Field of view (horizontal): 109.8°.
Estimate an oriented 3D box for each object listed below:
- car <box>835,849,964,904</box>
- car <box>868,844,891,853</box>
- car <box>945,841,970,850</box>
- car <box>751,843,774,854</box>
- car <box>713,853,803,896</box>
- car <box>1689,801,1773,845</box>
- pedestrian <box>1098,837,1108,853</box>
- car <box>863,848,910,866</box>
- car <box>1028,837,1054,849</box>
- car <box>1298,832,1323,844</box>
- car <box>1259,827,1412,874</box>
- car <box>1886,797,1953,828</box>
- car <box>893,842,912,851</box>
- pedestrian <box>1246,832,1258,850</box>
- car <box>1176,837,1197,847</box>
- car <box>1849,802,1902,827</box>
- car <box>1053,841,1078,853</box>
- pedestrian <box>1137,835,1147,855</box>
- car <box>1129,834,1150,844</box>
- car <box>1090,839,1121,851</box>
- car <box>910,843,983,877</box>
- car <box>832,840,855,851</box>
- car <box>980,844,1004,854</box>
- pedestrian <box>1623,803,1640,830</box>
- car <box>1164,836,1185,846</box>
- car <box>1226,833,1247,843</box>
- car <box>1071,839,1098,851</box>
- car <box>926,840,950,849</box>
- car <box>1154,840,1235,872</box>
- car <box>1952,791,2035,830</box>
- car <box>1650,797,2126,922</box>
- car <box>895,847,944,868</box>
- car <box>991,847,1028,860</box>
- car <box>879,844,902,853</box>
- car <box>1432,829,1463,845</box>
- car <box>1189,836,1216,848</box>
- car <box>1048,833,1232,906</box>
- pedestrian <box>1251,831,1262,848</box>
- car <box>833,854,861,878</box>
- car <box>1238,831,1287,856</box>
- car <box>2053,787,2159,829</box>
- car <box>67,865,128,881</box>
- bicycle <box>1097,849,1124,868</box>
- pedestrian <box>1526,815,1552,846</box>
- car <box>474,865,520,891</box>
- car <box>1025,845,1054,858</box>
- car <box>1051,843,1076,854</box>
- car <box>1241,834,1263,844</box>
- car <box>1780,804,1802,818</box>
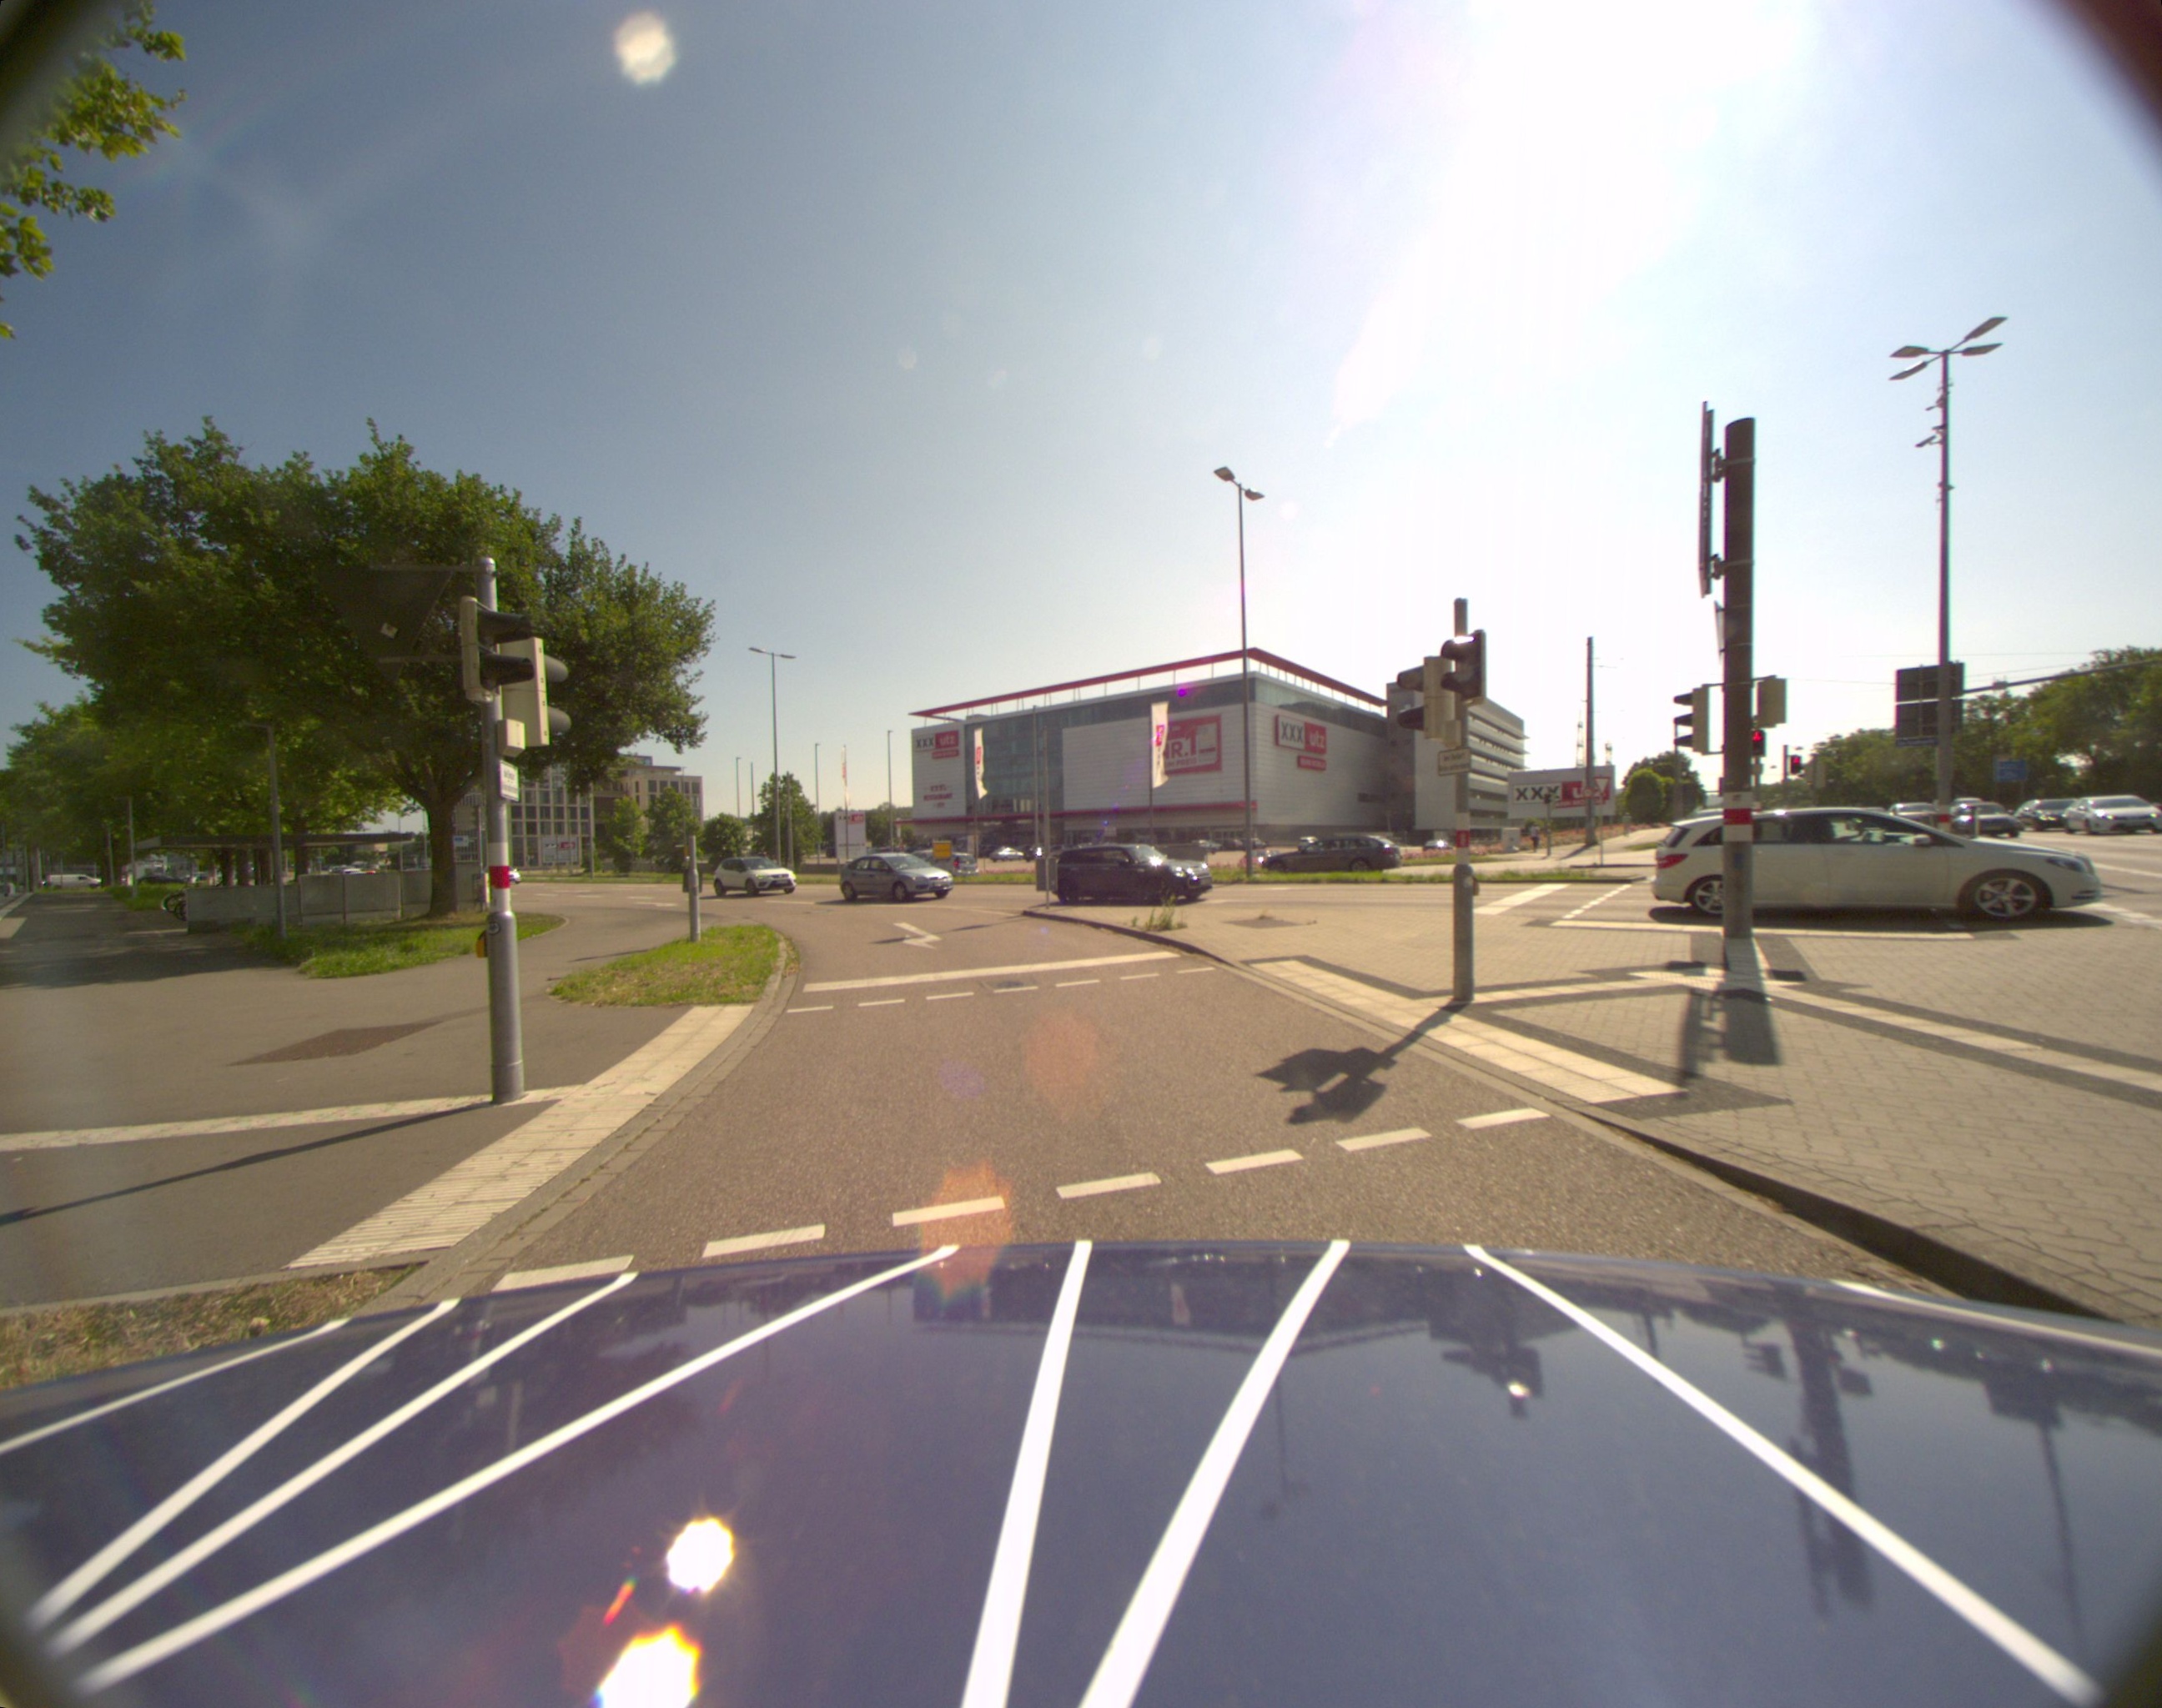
[{"bbox_3d":[-5.833,0.680,24.233,4.162,1.564,1.715,-1,2,38],"label":"car"},{"bbox_3d":[-32.199,-0.929,121.262,1.511,1.322,3.230,1,3,38],"label":"car"},{"bbox_3d":[-17.689,-1.215,108.914,1.476,1.192,3.517,1,3,38],"label":"car"},{"bbox_3d":[-51.121,-0.870,121.931,1.769,1.547,2.781,-1,1,38],"label":"car"},{"bbox_3d":[-12.890,0.835,30.274,3.859,1.489,1.639,-3,1,40],"label":"car"},{"bbox_3d":[32.134,-1.528,37.544,4.005,1.914,1.812,-4,2,-29],"label":"car"},{"bbox_3d":[2.590,-1.030,90.173,0.749,1.847,0.858,0,1,39],"label":"pedestrian"},{"bbox_3d":[-20.097,0.270,78.680,1.866,1.618,4.435,1,3,37],"label":"car"},{"bbox_3d":[-5.653,-1.554,107.577,1.658,1.621,3.579,-1,2,35],"label":"car"},{"bbox_3d":[27.806,-1.945,91.939,1.746,1.322,3.681,1,3,38],"label":"car"},{"bbox_3d":[9.076,-0.115,27.246,4.801,1.494,2.069,-2,1,35],"label":"car"},{"bbox_3d":[45.448,-2.229,41.267,1.757,1.512,4.008,-1,1,38],"label":"car"},{"bbox_3d":[-29.427,-1.214,125.150,1.292,1.322,2.828,1,3,38],"label":"car"},{"bbox_3d":[20.230,-1.549,89.901,0.973,2.002,0.951,-1,2,40],"label":"pedestrian"},{"bbox_3d":[14.265,-1.628,102.514,1.362,1.260,3.103,1,3,38],"label":"car"},{"bbox_3d":[53.199,-2.653,50.928,1.902,1.563,3.844,1,3,39],"label":"car"},{"bbox_3d":[-1.942,-0.906,96.217,1.511,1.322,3.103,1,3,38],"label":"car"},{"bbox_3d":[5.676,-0.813,71.047,0.784,1.884,0.497,-2,1,-20],"label":"pedestrian"},{"bbox_3d":[8.277,-2.107,106.883,1.511,1.218,3.103,1,3,38],"label":"car"},{"bbox_3d":[2.991,-1.081,93.616,1.511,1.322,4.322,1,3,38],"label":"car"},{"bbox_3d":[-7.181,0.328,40.478,3.906,1.615,1.635,-2,1,40],"label":"car"},{"bbox_3d":[-39.662,-1.402,126.929,1.687,1.748,3.103,1,3,38],"label":"car"},{"bbox_3d":[-12.145,-0.699,103.798,1.511,1.286,3.103,1,3,39],"label":"car"},{"bbox_3d":[41.104,-2.813,56.769,0.915,1.961,0.719,2,4,44],"label":"pedestrian"},{"bbox_3d":[12.961,-1.770,104.865,1.511,1.322,3.103,1,3,38],"label":"car"},{"bbox_3d":[20.353,-2.099,99.338,1.511,1.322,3.103,1,3,38],"label":"car"},{"bbox_3d":[0.401,-1.163,94.186,1.585,1.322,3.421,-1,1,36],"label":"car"},{"bbox_3d":[-21.107,-1.398,112.430,1.699,1.322,3.103,1,3,38],"label":"car"},{"bbox_3d":[3.812,0.079,25.624,2.485,0.998,1.123,-1,1,41],"label":"car"},{"bbox_3d":[36.977,-1.745,30.876,1.405,1.492,3.403,1,3,37],"label":"car"},{"bbox_3d":[10.857,0.058,10.800,4.376,1.440,1.750,-1,2,38],"label":"car"},{"bbox_3d":[-15.990,0.321,75.358,1.940,1.832,4.435,0,2,39],"label":"car"},{"bbox_3d":[-8.258,-0.100,88.124,1.511,1.322,4.511,1,3,38],"label":"car"},{"bbox_3d":[-30.028,-0.912,119.984,1.511,1.322,3.230,1,3,38],"label":"car"},{"bbox_3d":[32.734,-1.566,67.845,1.724,1.322,3.867,1,3,38],"label":"car"},{"bbox_3d":[14.103,-1.400,88.346,1.774,1.322,3.103,1,3,38],"label":"car"},{"bbox_3d":[1.385,0.359,18.763,4.188,1.504,1.746,-1,5,39],"label":"car"},{"bbox_3d":[20.977,-1.729,90.811,0.973,2.002,0.951,0,1,40],"label":"pedestrian"},{"bbox_3d":[-17.048,0.824,55.182,1.801,1.538,4.079,-2,2,-18],"label":"car"},{"bbox_3d":[12.405,-0.755,51.641,1.821,1.597,4.204,1,3,35],"label":"car"},{"bbox_3d":[39.290,-1.738,29.216,1.405,1.492,3.360,1,3,35],"label":"car"},{"bbox_3d":[-135.232,2.588,104.511,1.735,1.996,5.010,1,3,38],"label":"car"},{"bbox_3d":[1.685,0.235,43.235,1.639,1.017,0.332,1,2,36],"label":"bicycle"},{"bbox_3d":[25.214,-1.294,41.842,0.907,1.697,0.841,-2,1,-27],"label":"pedestrian"},{"bbox_3d":[-48.024,1.956,62.442,4.298,1.828,2.030,1,3,40],"label":"car"},{"bbox_3d":[-4.646,-0.312,84.415,1.511,1.322,3.103,1,3,38],"label":"car"},{"bbox_3d":[-2.157,-0.733,96.306,1.511,1.322,3.103,1,3,38],"label":"car"},{"bbox_3d":[21.922,-1.927,97.192,1.511,1.322,3.103,1,3,38],"label":"car"},{"bbox_3d":[89.537,-5.400,95.834,1.628,1.615,3.792,-1,2,37],"label":"car"}]
